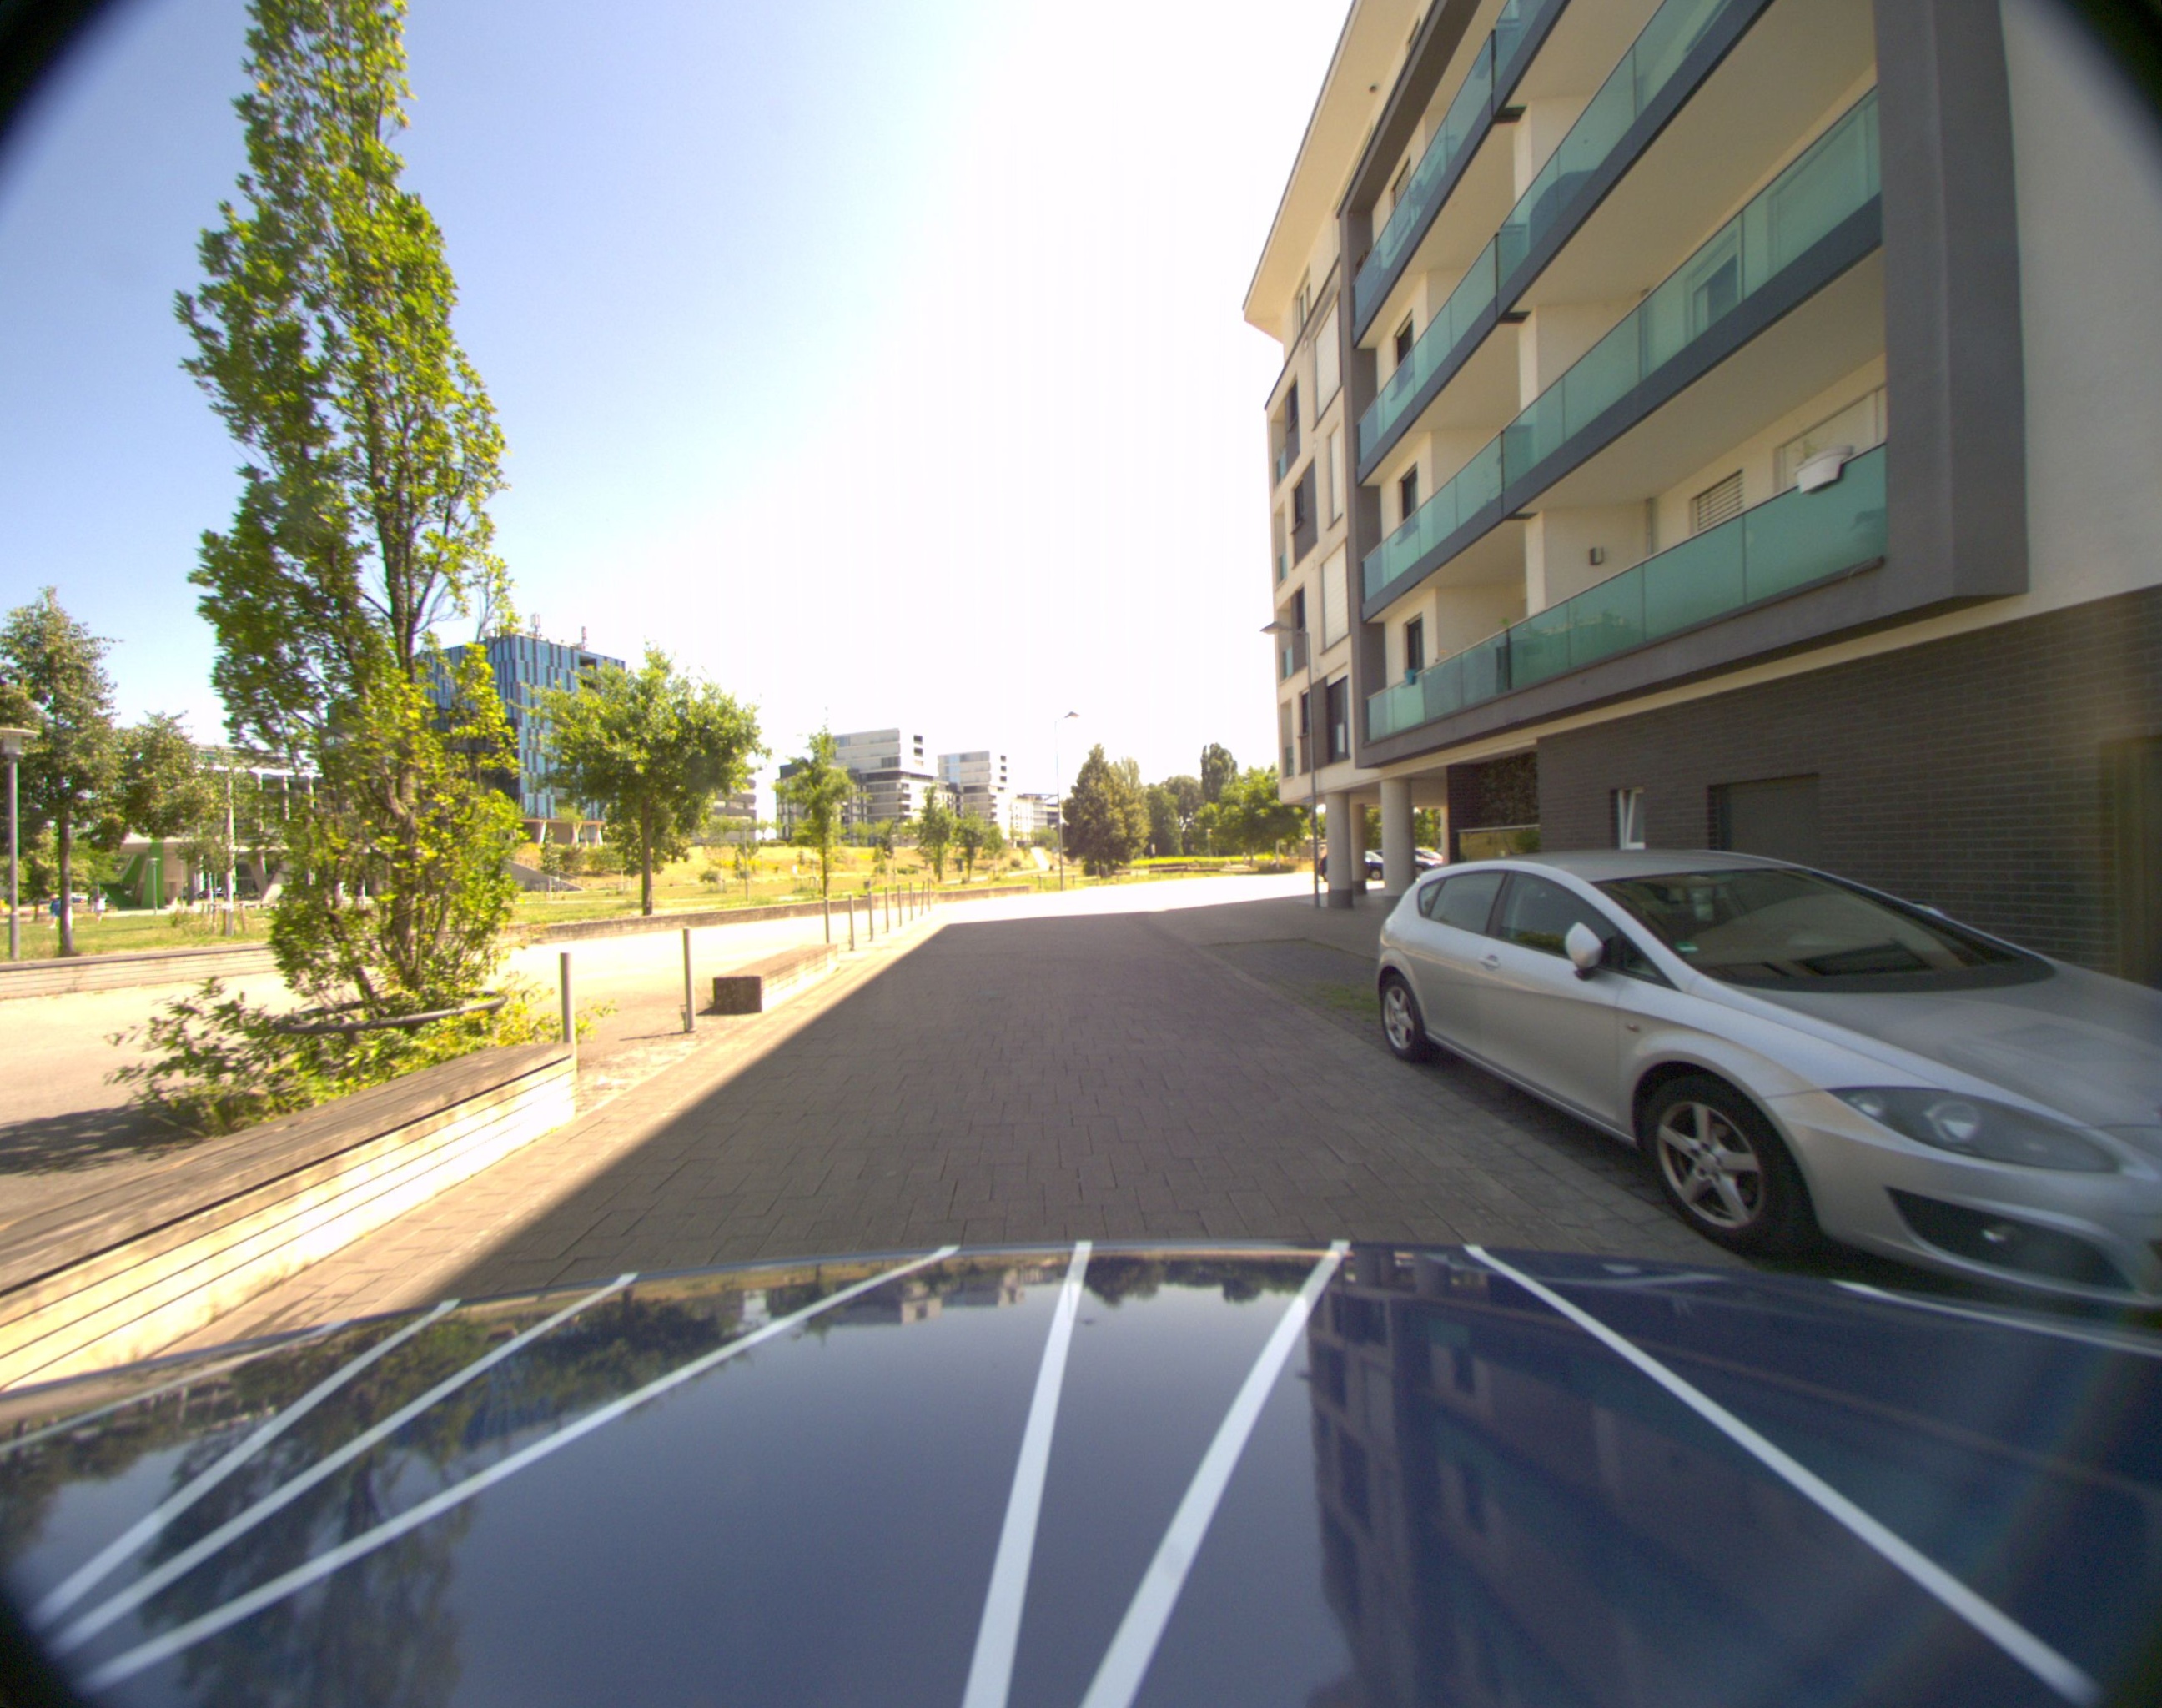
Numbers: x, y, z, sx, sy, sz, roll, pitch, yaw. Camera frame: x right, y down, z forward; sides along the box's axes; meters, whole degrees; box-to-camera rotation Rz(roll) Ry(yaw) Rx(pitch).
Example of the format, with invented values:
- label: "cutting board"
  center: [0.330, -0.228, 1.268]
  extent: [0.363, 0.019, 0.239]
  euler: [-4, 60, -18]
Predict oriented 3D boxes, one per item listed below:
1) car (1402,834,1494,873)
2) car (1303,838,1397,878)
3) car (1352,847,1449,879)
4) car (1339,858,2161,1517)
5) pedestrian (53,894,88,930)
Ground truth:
- label: "car"
  center: [18.834, -0.032, 39.018]
  extent: [4.004, 1.772, 2.081]
  euler: [-2, 0, -22]
- label: "car"
  center: [13.251, 0.199, 37.497]
  extent: [4.004, 1.772, 1.996]
  euler: [-2, 0, -22]
- label: "car"
  center: [14.793, 0.400, 35.183]
  extent: [4.004, 1.263, 1.776]
  euler: [-2, 0, -22]
- label: "car"
  center: [3.092, 0.835, 3.978]
  extent: [1.787, 1.496, 4.113]
  euler: [-4, 0, -4]
- label: "pedestrian"
  center: [-51.643, 2.959, 38.847]
  extent: [0.816, 1.717, 0.614]
  euler: [-2, 1, -25]
